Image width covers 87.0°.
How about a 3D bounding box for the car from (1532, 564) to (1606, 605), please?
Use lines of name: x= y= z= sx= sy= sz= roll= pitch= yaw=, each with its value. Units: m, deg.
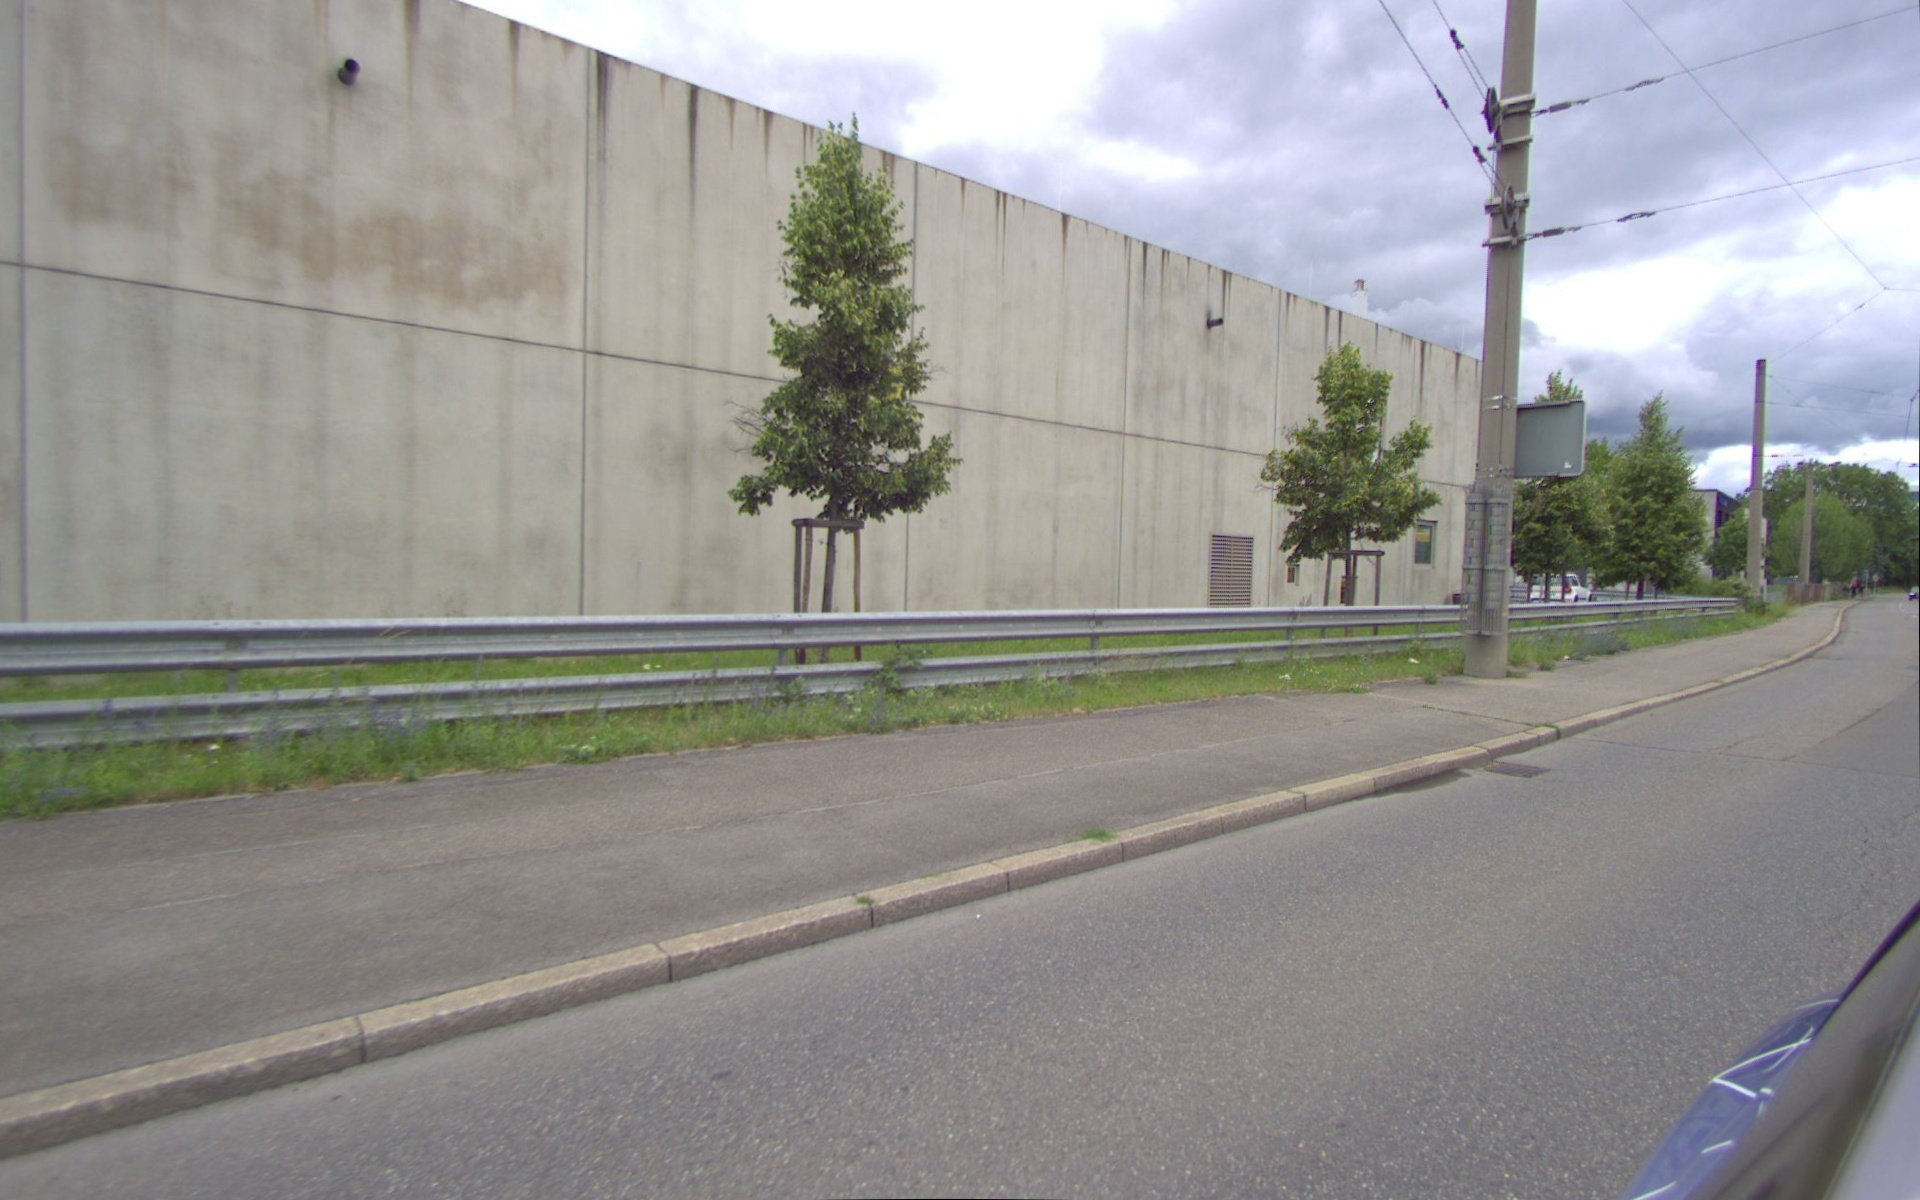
car: x=25.385 y=-0.644 z=42.129 sx=1.749 sy=1.593 sz=4.360 roll=1 pitch=1 yaw=44
